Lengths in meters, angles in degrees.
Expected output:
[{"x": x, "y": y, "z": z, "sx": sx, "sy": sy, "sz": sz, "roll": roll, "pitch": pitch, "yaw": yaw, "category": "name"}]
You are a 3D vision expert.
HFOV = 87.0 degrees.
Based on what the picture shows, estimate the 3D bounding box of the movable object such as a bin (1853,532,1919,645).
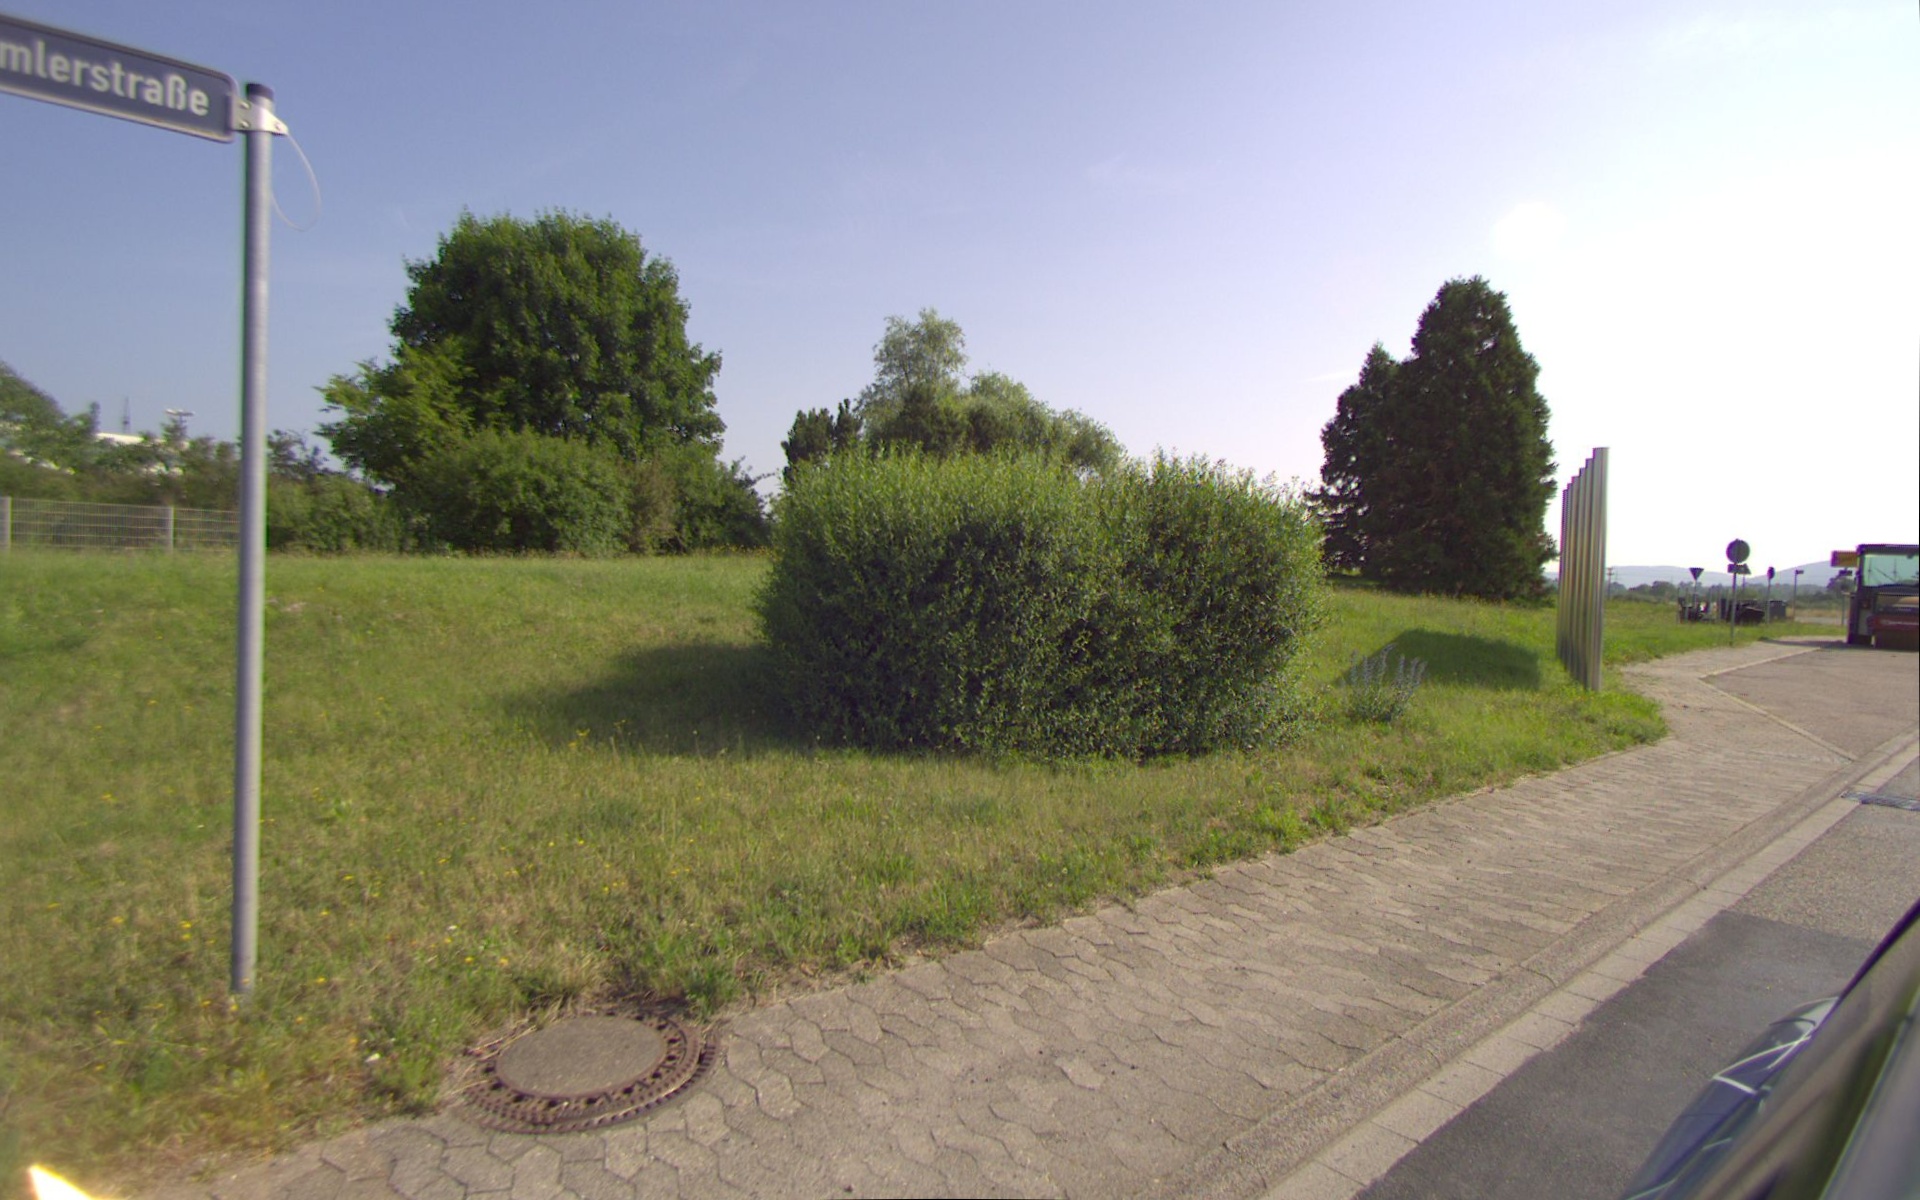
[{"x": 27.875, "y": -0.308, "z": 29.595, "sx": 2.428, "sy": 3.048, "sz": 5.666, "roll": 5, "pitch": 3, "yaw": 42, "category": "movable object such as a bin"}]
